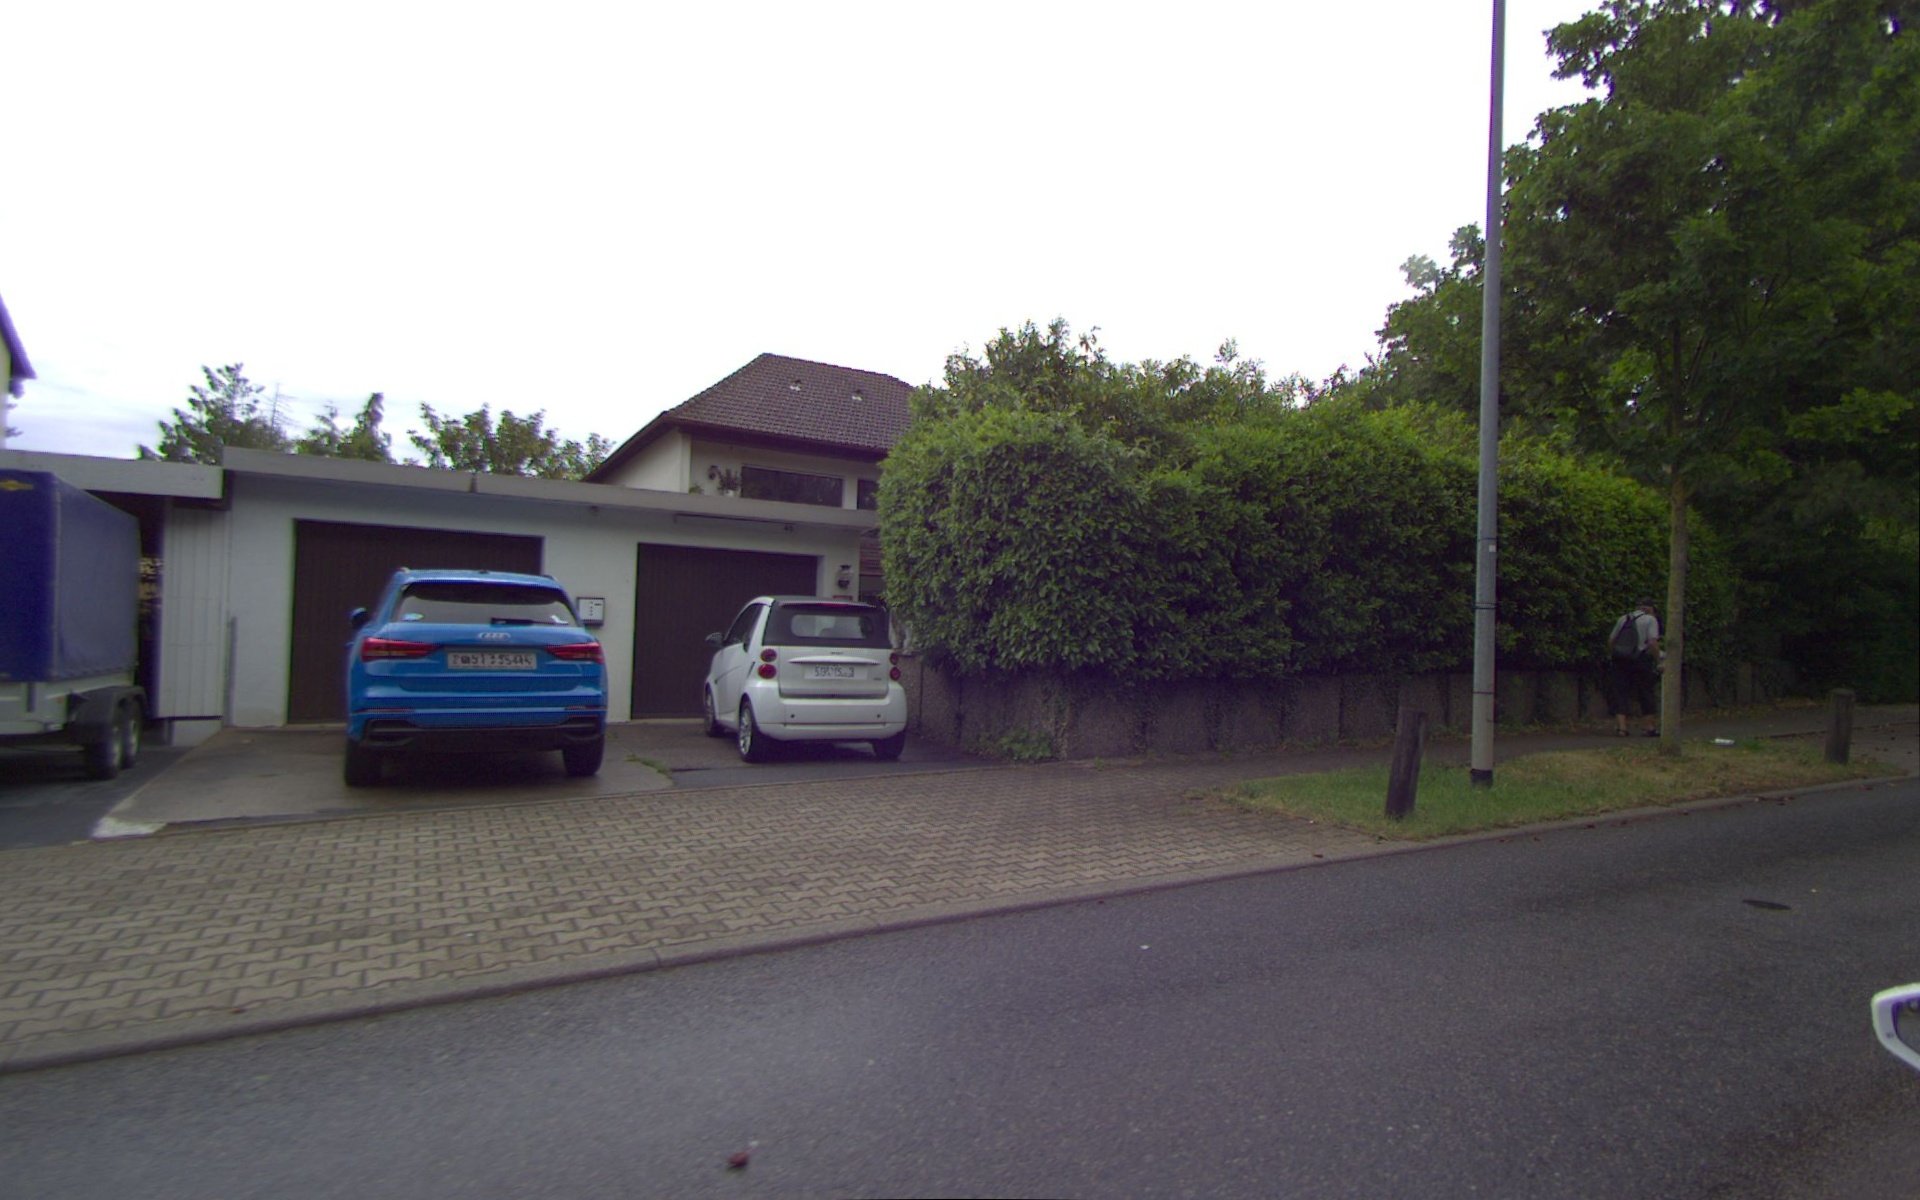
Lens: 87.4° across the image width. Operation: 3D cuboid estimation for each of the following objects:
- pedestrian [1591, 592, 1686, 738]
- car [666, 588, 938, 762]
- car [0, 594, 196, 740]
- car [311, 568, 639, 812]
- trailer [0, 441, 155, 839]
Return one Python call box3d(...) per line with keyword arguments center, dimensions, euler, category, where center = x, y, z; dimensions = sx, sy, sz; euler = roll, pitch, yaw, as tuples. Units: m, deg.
box3d(center=(8.251, 0.761, 12.218), dimensions=(0.837, 1.684, 0.770), euler=(1, 0, -43), category="pedestrian")
box3d(center=(-1.831, 0.671, 10.773), dimensions=(1.711, 1.539, 3.385), euler=(2, 0, -31), category="car")
box3d(center=(-10.467, 0.684, 11.894), dimensions=(1.812, 1.448, 3.828), euler=(2, 0, -31), category="car")
box3d(center=(-4.360, 0.587, 8.771), dimensions=(2.029, 1.560, 4.216), euler=(2, 0, -31), category="car")
box3d(center=(-7.220, 0.183, 7.056), dimensions=(1.794, 2.200, 4.596), euler=(2, 0, -31), category="trailer")
